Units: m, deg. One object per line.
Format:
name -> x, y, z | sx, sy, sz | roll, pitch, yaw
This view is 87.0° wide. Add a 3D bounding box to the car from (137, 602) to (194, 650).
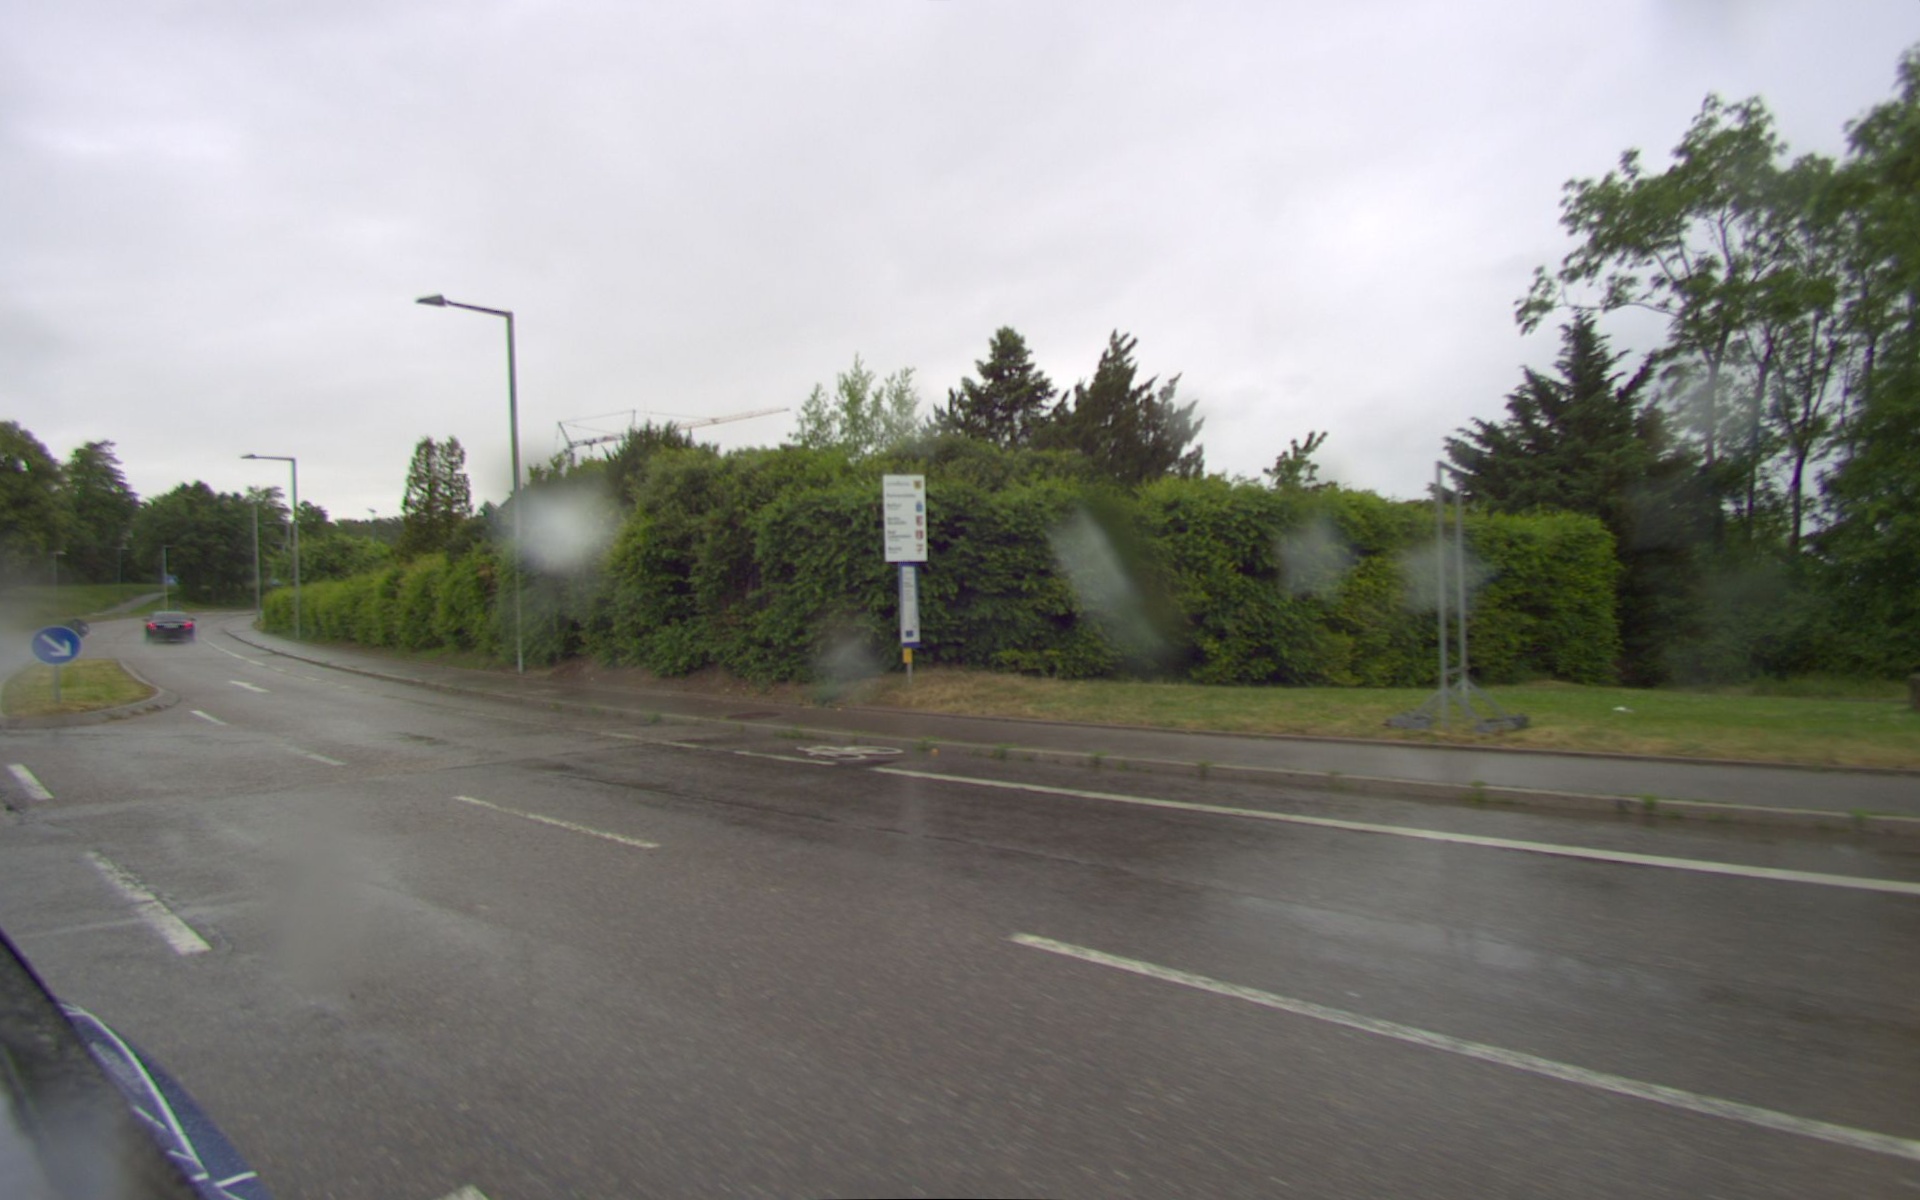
car -> -36.522, 1.172, 46.504 | 1.937, 2.029, 4.007 | -2, 0, -39
